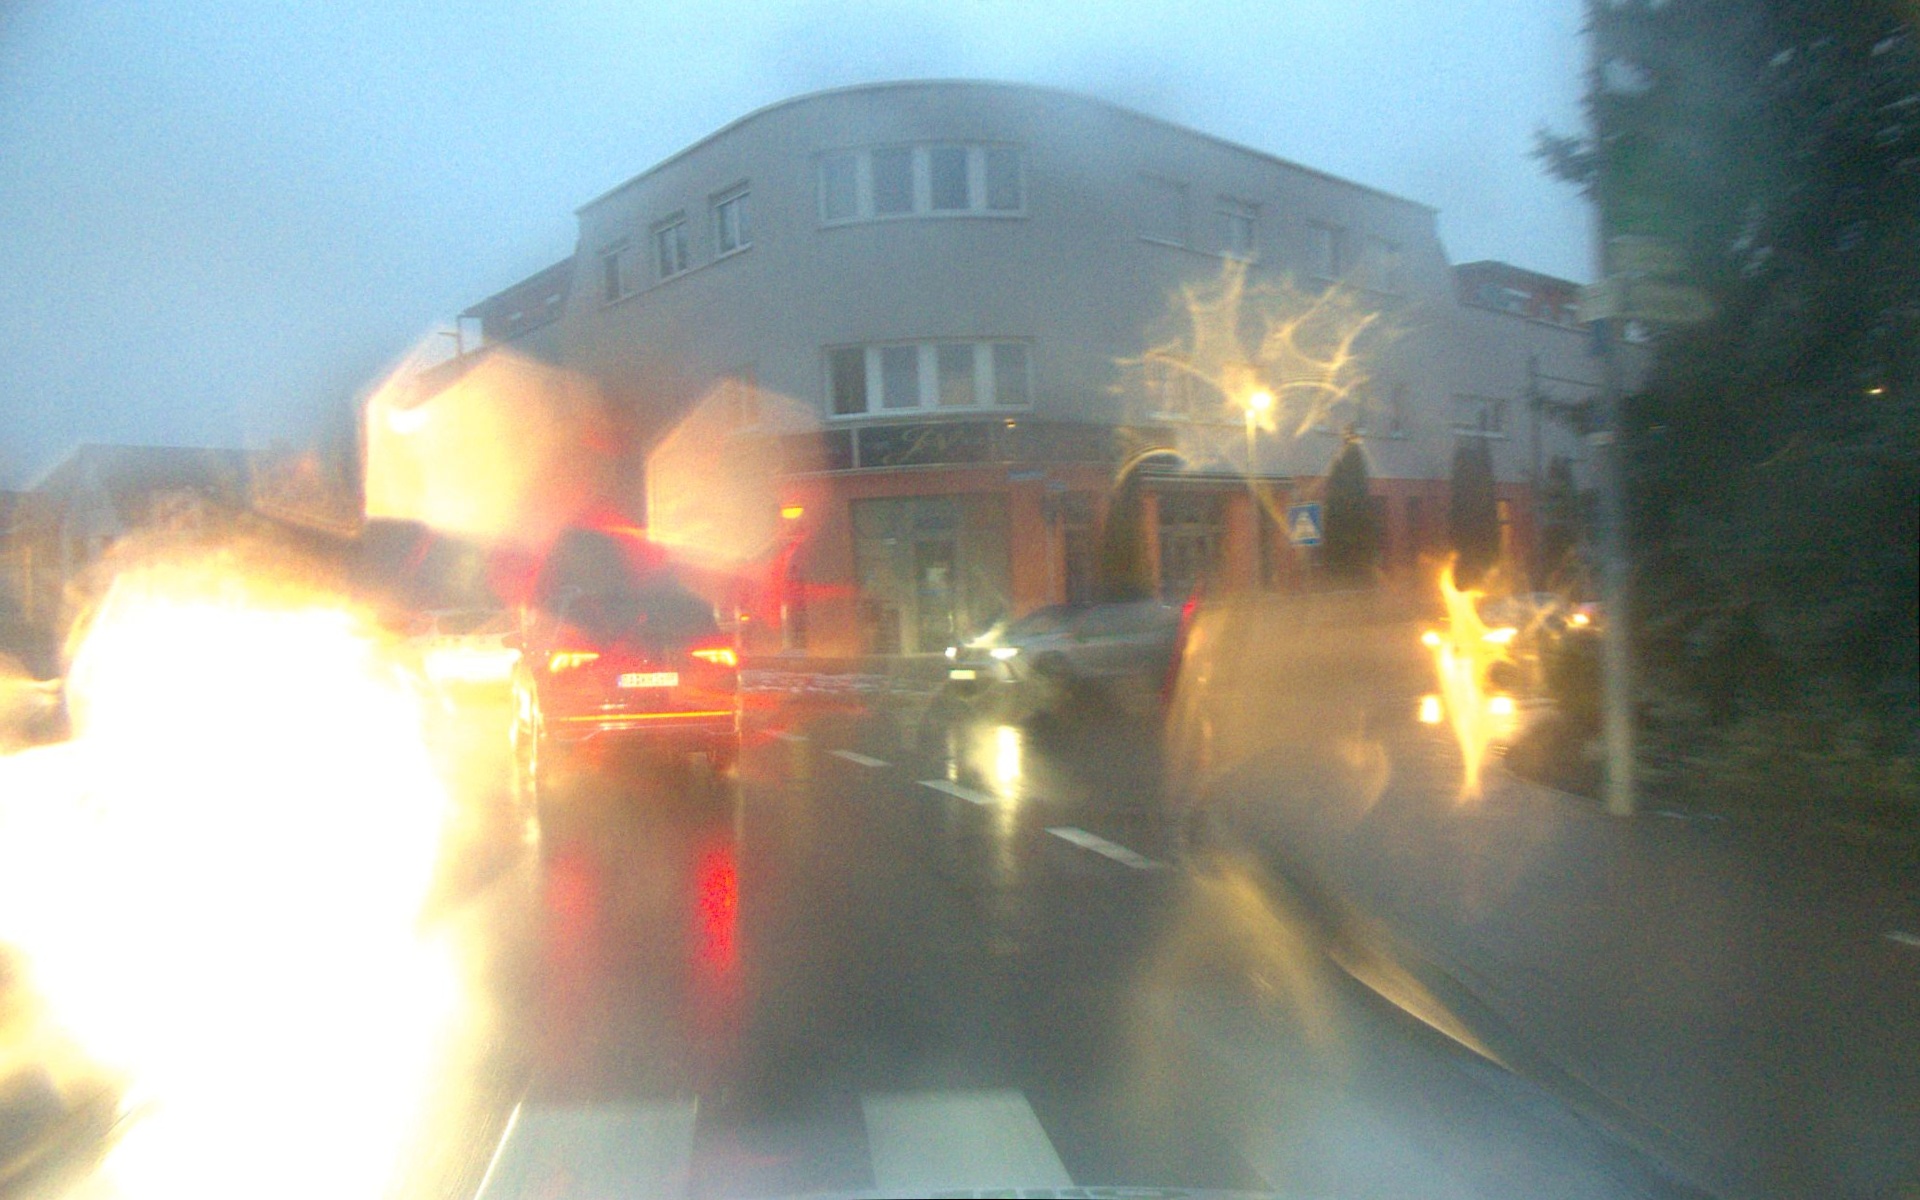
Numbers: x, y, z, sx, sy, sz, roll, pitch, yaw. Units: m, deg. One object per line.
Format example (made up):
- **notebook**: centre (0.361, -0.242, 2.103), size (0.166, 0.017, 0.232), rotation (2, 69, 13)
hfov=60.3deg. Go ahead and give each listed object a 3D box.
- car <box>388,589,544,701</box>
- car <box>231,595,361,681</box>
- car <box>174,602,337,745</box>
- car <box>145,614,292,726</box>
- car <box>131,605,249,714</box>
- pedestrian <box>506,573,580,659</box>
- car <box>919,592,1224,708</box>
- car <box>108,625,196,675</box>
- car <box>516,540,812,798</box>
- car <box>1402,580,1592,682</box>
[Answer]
- **car**: centre (-8.394, 0.706, 27.899), size (1.836, 1.676, 3.965), rotation (-2, 1, -27)
- **car**: centre (-17.384, 0.975, 43.159), size (2.288, 1.972, 4.963), rotation (-4, 1, -32)
- **car**: centre (-8.660, 0.828, 20.398), size (1.640, 1.512, 3.971), rotation (-2, 0, -23)
- **car**: centre (-11.668, 1.015, 25.894), size (1.752, 1.521, 4.003), rotation (-3, 1, -29)
- **car**: centre (-14.076, 1.013, 30.111), size (1.751, 1.753, 4.382), rotation (-2, 1, -27)
- **pedestrian**: centre (-9.879, 0.374, 39.164), size (1.244, 1.898, 1.288), rotation (-5, 2, -34)
- **car**: centre (1.607, 0.633, 23.004), size (4.141, 1.466, 1.773), rotation (0, 0, -38)
- **car**: centre (-24.728, 1.494, 50.578), size (1.827, 1.354, 3.890), rotation (-4, 2, -34)
- **car**: centre (-3.054, 0.551, 16.033), size (2.272, 1.972, 4.996), rotation (-3, 1, -16)
- **car**: centre (10.393, 0.578, 31.852), size (2.011, 1.819, 4.106), rotation (-1, -1, 41)
